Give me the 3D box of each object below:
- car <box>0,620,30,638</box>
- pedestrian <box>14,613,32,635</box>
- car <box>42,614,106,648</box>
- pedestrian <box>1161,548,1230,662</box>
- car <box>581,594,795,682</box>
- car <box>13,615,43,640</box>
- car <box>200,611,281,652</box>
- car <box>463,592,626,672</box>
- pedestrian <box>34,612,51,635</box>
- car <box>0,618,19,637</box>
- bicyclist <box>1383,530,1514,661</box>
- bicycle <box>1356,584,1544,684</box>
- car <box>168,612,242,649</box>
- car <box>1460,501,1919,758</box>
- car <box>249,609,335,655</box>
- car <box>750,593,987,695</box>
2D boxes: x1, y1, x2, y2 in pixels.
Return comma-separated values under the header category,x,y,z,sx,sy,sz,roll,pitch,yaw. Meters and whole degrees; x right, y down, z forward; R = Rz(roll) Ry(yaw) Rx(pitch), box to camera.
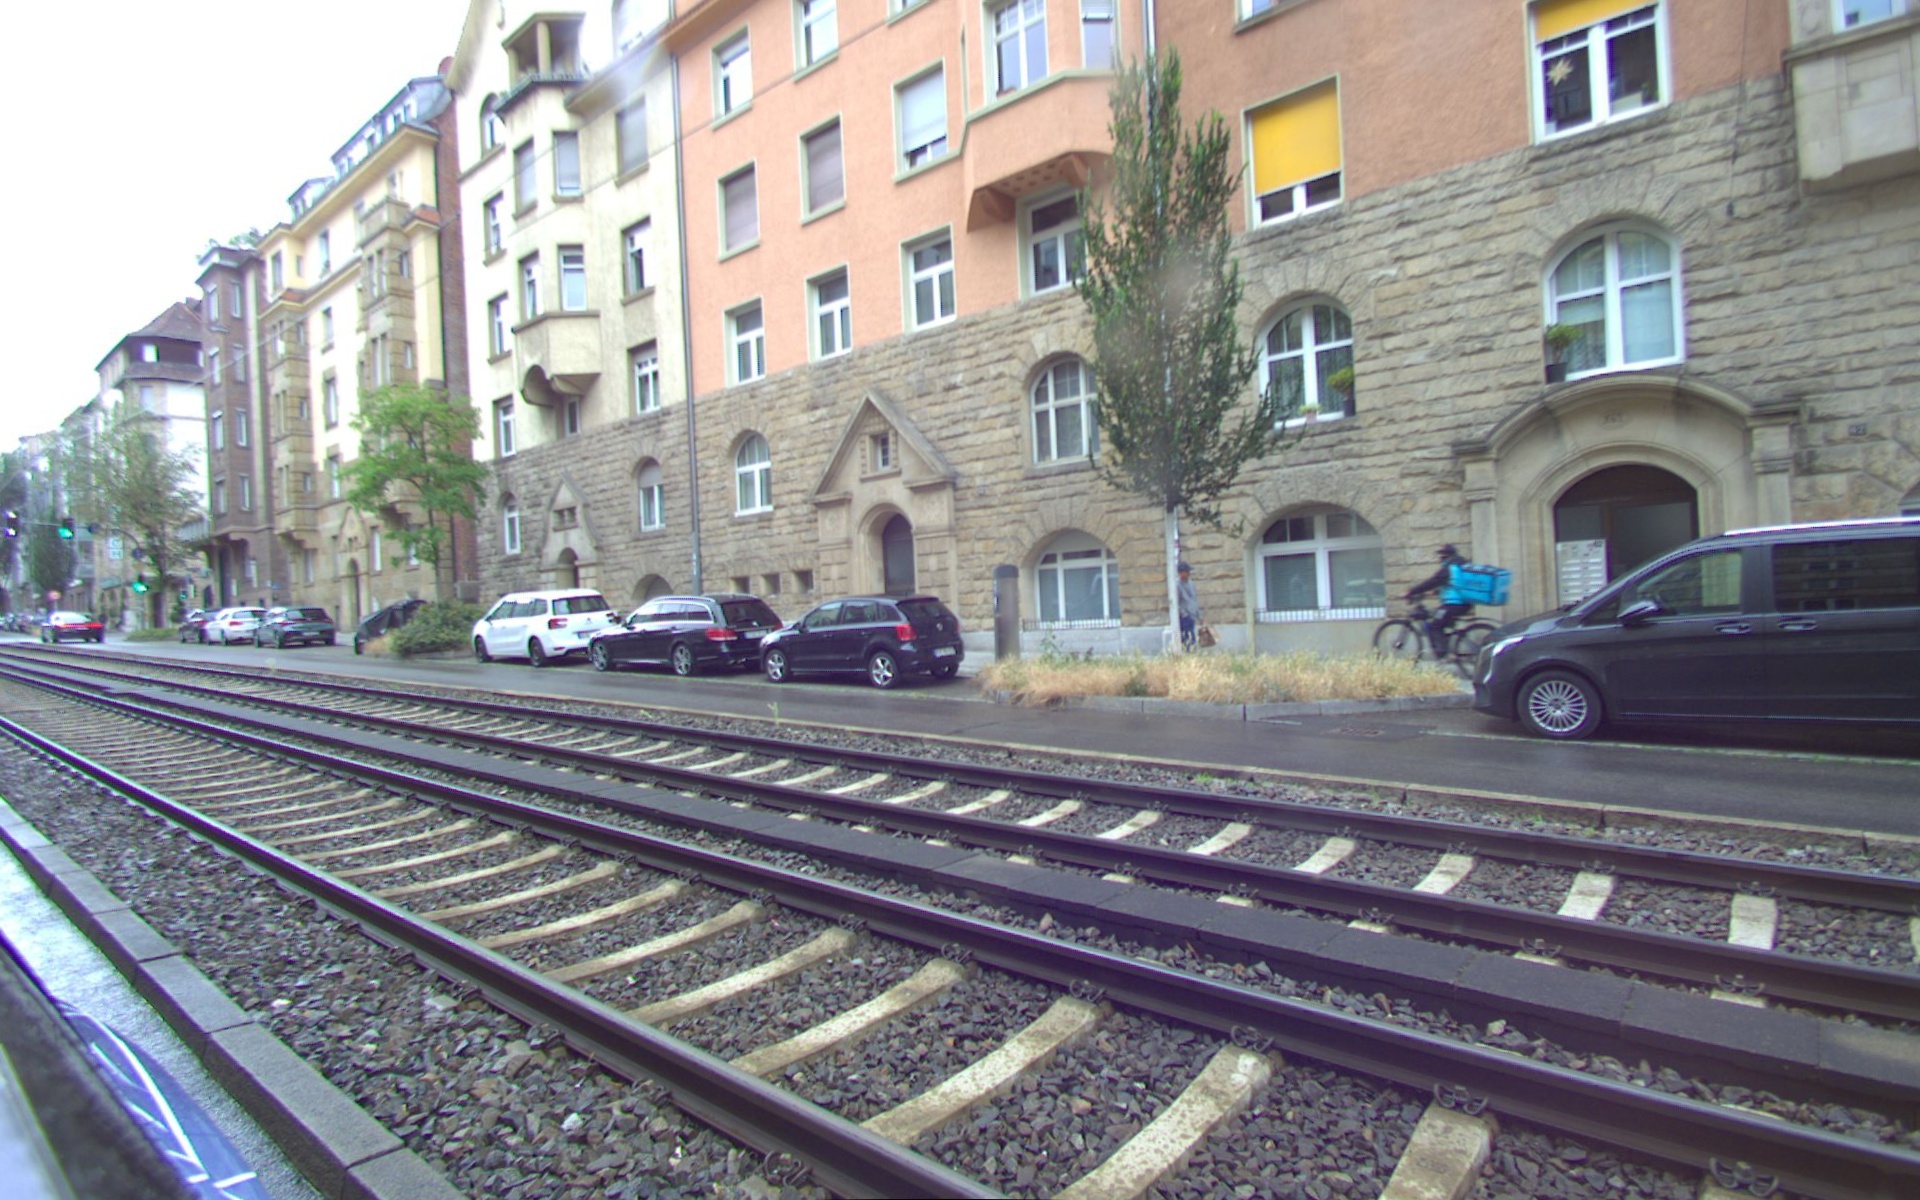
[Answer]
category,x,y,z,sx,sy,sz,roll,pitch,yaw
car,-74.308,2.289,79.357,3.843,1.321,1.563,-1,0,41
pedestrian,-83.607,2.129,90.271,1.163,1.972,1.042,-1,0,43
car,-42.644,1.479,48.669,4.963,1.535,1.784,-1,0,42
pedestrian,3.514,0.074,15.110,0.765,1.654,0.692,-1,0,40
car,-5.454,0.706,19.957,4.599,1.506,1.824,-1,0,41
car,-69.059,2.001,74.992,1.561,1.691,3.794,-2,2,-43
car,-28.302,1.220,39.781,4.030,1.452,1.748,-1,1,42
car,-9.762,0.711,23.630,4.144,1.668,1.843,-1,0,41
pedestrian,-82.757,2.118,91.267,1.163,1.972,1.042,-1,0,43
car,-80.935,2.297,85.430,3.843,1.527,1.748,-1,0,41
bicyclist,6.364,-0.046,13.219,0.873,1.609,1.256,-1,-1,-38
bicycle,6.373,0.417,13.269,0.813,1.195,2.041,-2,0,-39
car,-32.161,1.274,43.104,3.843,1.452,1.748,-1,0,41
car,7.330,0.224,9.001,4.823,1.956,1.973,-1,0,41
car,-23.701,1.104,35.878,3.845,1.452,1.656,-1,1,43
car,-1.573,0.678,16.935,3.638,1.508,1.912,-1,0,38
